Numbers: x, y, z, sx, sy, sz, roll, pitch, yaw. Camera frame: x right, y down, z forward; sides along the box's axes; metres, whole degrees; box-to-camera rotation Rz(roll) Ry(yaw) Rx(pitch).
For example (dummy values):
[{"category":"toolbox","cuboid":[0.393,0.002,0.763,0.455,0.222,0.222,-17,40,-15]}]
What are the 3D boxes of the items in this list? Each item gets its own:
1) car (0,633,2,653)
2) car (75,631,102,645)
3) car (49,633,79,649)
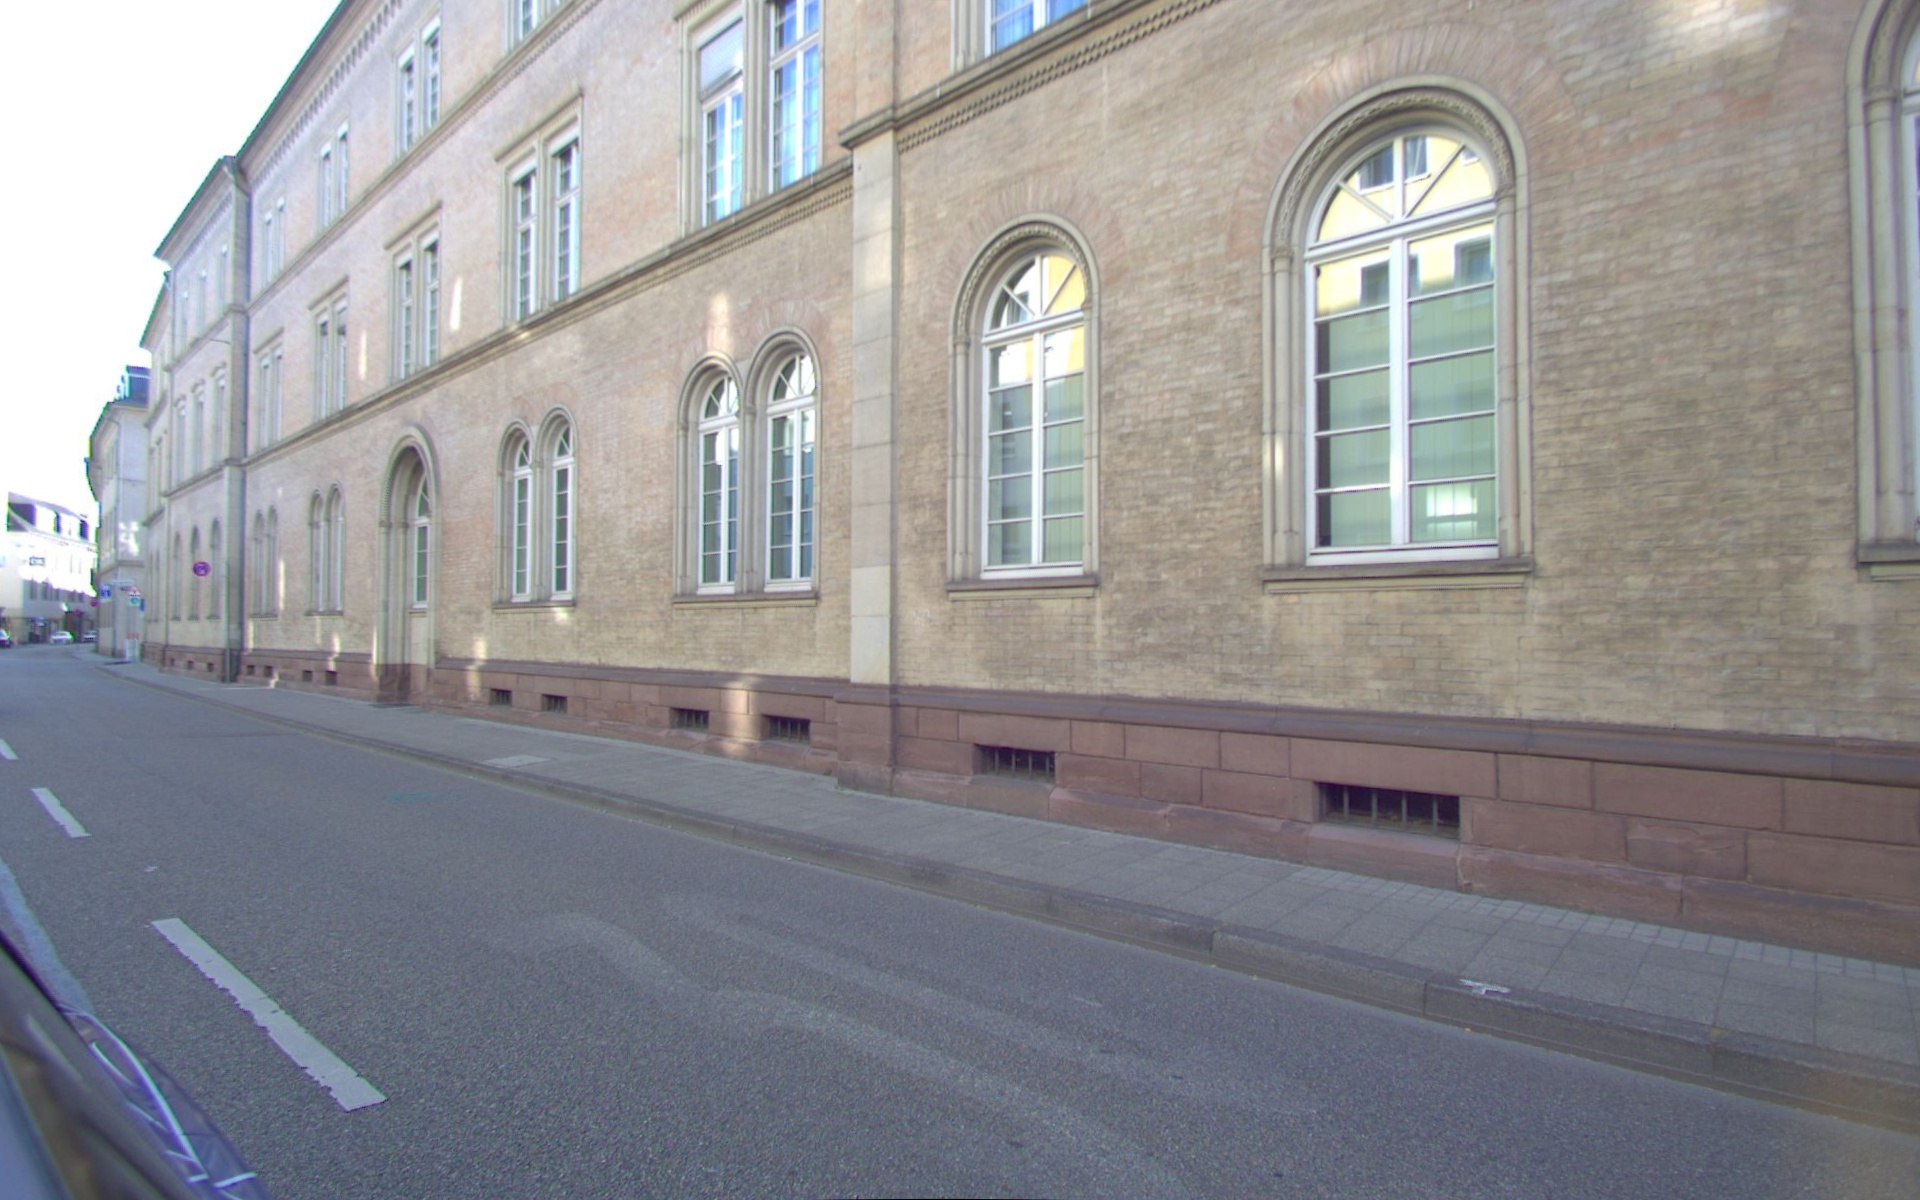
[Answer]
[{"category":"car","cuboid":[-86.607,3.865,89.943,1.969,1.665,4.235,-1,0,-41]},{"category":"car","cuboid":[-109.223,4.728,126.820,1.966,1.665,4.240,-1,0,-33]},{"category":"car","cuboid":[-102.849,4.652,116.168,1.966,1.665,4.240,-1,0,-33]}]
